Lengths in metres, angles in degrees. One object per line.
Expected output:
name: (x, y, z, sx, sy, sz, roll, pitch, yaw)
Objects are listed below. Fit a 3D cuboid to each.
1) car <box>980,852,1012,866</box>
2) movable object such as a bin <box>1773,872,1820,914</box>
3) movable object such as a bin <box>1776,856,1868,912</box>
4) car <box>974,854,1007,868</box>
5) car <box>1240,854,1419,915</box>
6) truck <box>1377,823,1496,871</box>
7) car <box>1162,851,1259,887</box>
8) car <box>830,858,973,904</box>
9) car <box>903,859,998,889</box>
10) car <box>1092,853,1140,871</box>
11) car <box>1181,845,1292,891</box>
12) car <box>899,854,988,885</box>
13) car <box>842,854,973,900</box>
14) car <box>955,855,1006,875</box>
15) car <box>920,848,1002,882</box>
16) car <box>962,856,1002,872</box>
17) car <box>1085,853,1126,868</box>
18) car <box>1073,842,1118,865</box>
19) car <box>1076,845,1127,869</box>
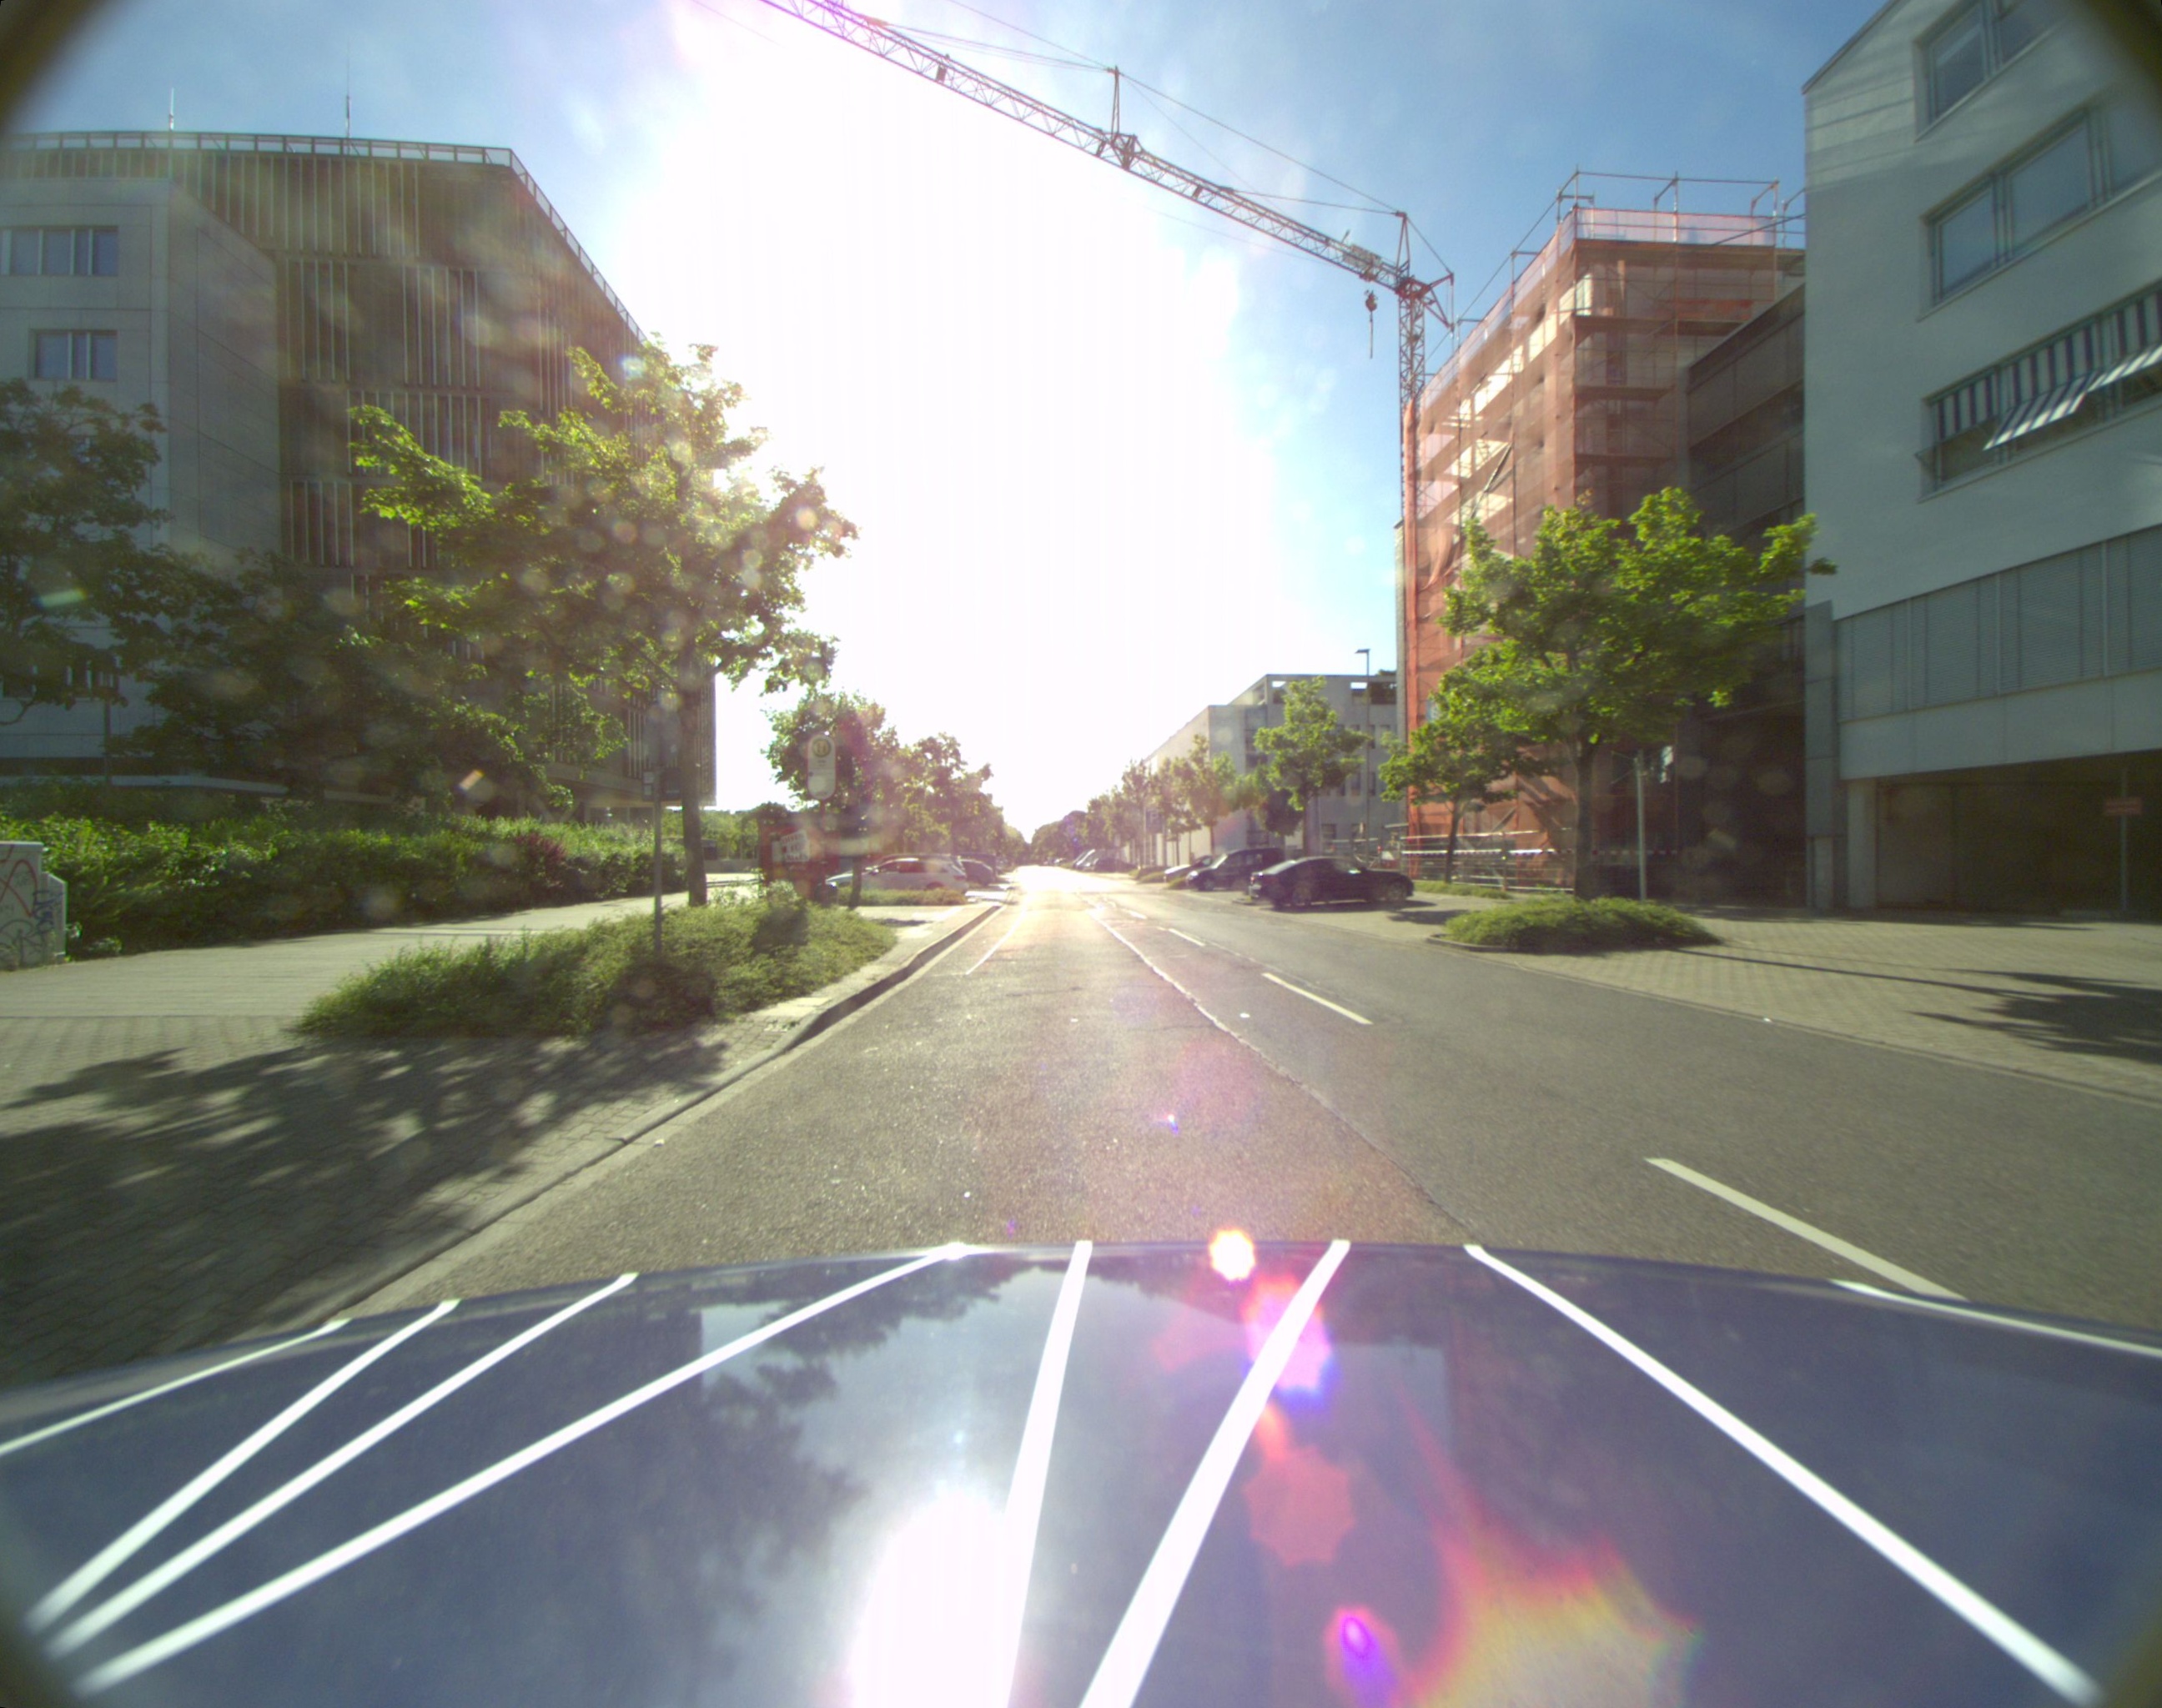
car: (-10.017, 0.608, 90.072, 3.718, 1.662, 1.675, 0, 0, -5)
movable object such as a bin: (16.326, 0.880, 17.340, 0.488, 0.922, 0.610, 0, 1, -1)
movable object such as a bin: (17.292, 0.688, 17.750, 1.239, 1.273, 0.914, 0, 1, -2)
car: (-10.430, 0.785, 87.421, 3.718, 1.516, 1.675, 0, 0, -5)
car: (7.059, 0.820, 21.823, 4.399, 1.423, 1.976, -3, 1, -8)
truck: (20.457, -0.395, 43.910, 5.858, 2.715, 2.268, 0, 0, -3)
car: (6.379, 0.718, 37.632, 4.397, 1.505, 1.693, -3, 1, -3)
car: (-5.927, 0.875, 25.559, 4.415, 1.454, 1.894, 0, 0, -4)
car: (-6.360, 0.954, 37.424, 4.415, 1.401, 2.073, 0, 0, -4)
car: (3.320, 0.756, 72.378, 4.317, 1.505, 1.718, -3, 1, -5)
car: (6.730, 0.606, 33.169, 4.397, 1.735, 1.846, -3, 1, -3)
car: (-7.150, 0.810, 39.848, 4.415, 1.548, 2.073, 0, 0, -4)
car: (-6.279, 0.820, 27.903, 4.415, 1.631, 2.073, 0, 0, -4)
car: (-8.089, 0.861, 61.289, 3.963, 1.591, 1.675, 0, 0, -6)
car: (-6.746, 0.605, 43.152, 4.415, 1.881, 2.073, 0, 0, -4)
car: (-9.534, 0.961, 73.273, 3.763, 1.417, 1.731, 0, 0, -5)
car: (2.666, 0.695, 83.514, 4.317, 1.505, 1.693, -3, 1, -5)
car: (1.862, -0.090, 98.710, 5.584, 2.622, 2.010, -3, 1, -2)
car: (2.341, 0.327, 86.842, 5.584, 2.468, 2.010, -3, 1, -2)
